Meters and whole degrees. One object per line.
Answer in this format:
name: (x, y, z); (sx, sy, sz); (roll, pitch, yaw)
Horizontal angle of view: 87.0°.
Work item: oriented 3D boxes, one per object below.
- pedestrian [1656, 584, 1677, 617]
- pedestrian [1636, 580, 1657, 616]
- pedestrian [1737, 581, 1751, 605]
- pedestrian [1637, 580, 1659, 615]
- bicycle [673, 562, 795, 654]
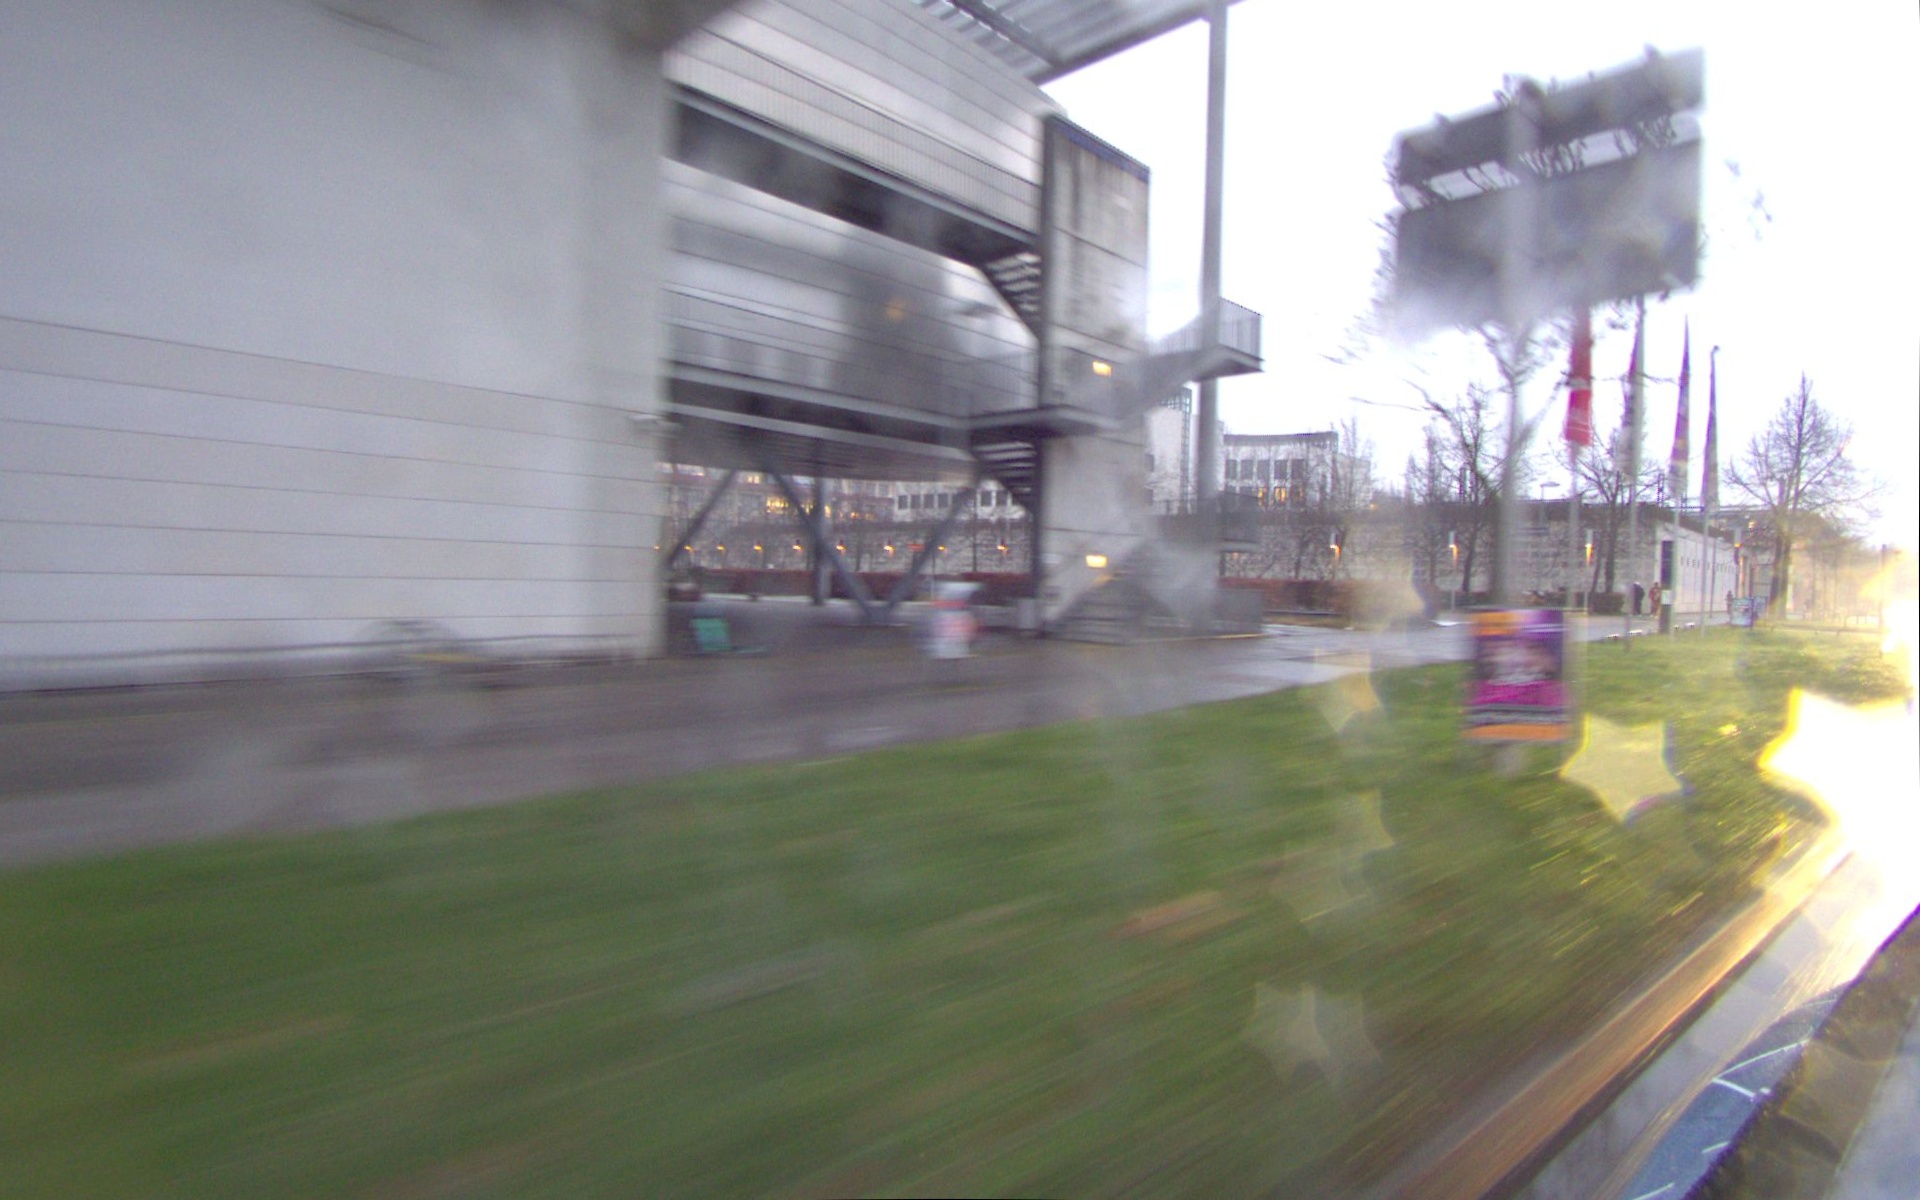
pedestrian: (34.967, 0.009, 50.071); (0.602, 1.632, 0.675); (0, 0, -32)
pedestrian: (34.383, -0.111, 50.705); (0.602, 1.800, 0.675); (0, 0, -32)
pedestrian: (54.697, -0.489, 70.600); (0.666, 1.675, 0.981); (2, 2, 39)
pedestrian: (33.194, -0.114, 48.812); (0.602, 1.646, 0.675); (0, 0, -31)
bicycle: (-3.295, 0.104, 14.768); (1.707, 1.301, 0.412); (0, 0, -19)
